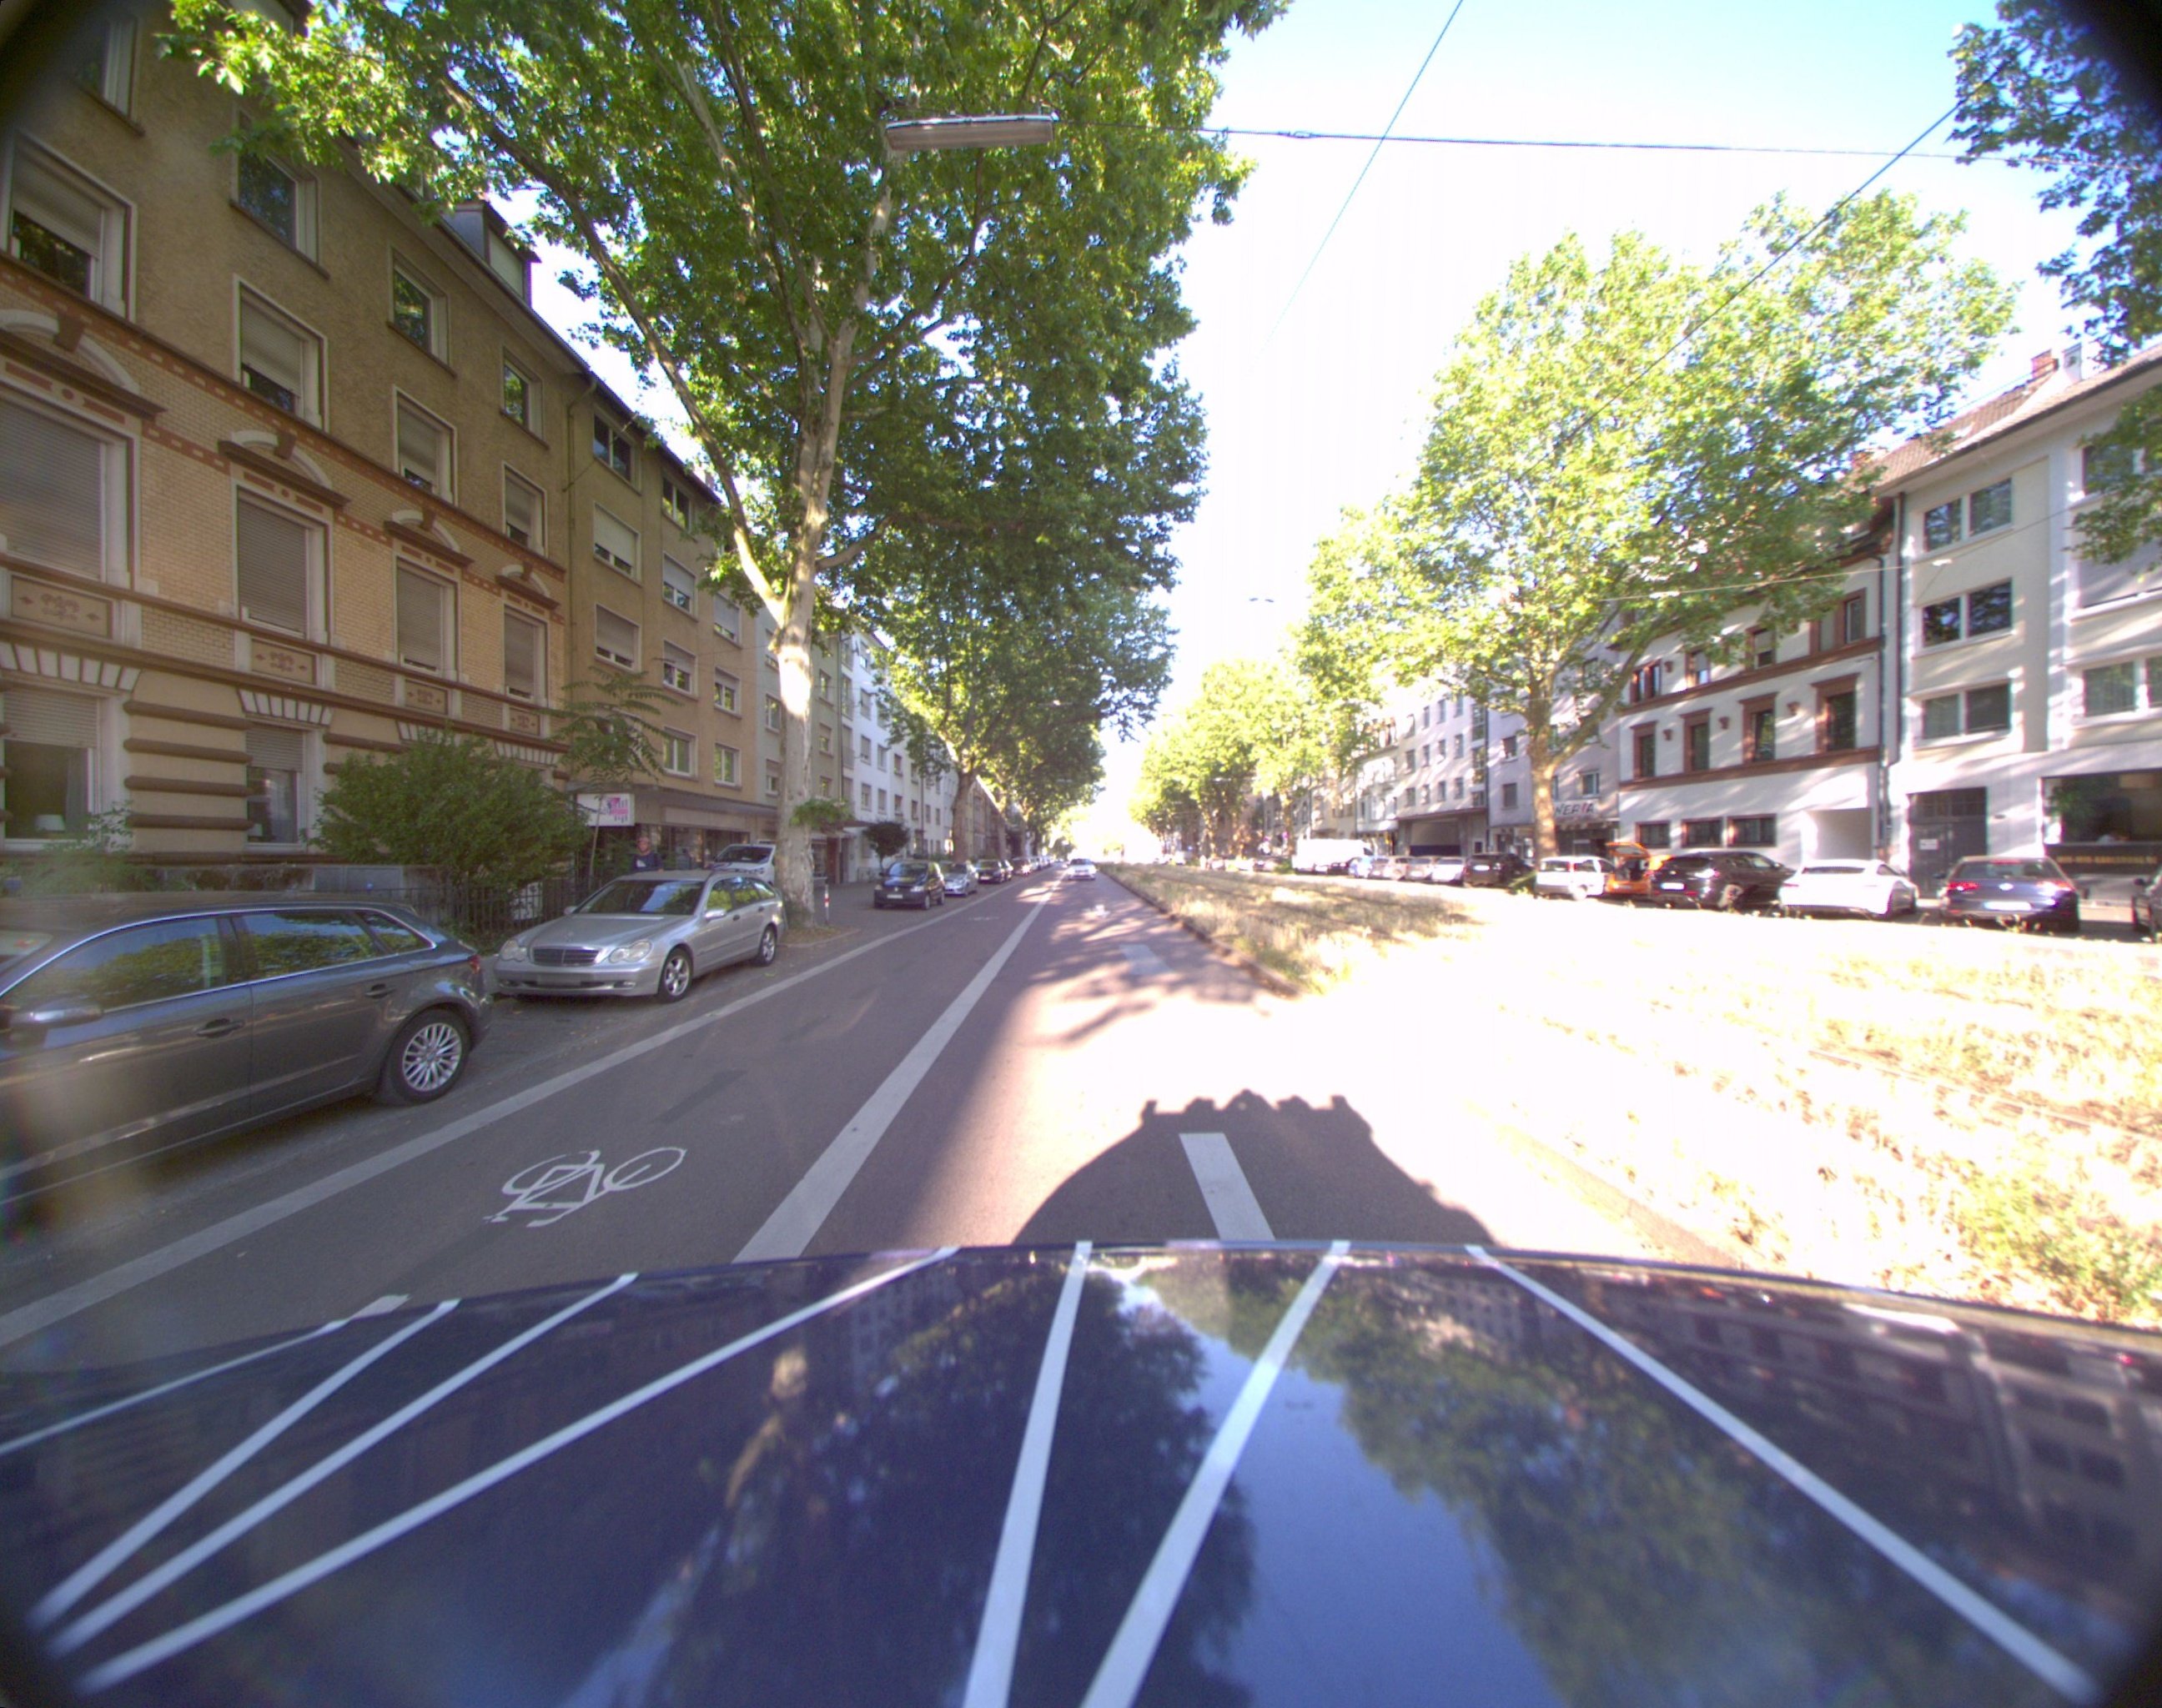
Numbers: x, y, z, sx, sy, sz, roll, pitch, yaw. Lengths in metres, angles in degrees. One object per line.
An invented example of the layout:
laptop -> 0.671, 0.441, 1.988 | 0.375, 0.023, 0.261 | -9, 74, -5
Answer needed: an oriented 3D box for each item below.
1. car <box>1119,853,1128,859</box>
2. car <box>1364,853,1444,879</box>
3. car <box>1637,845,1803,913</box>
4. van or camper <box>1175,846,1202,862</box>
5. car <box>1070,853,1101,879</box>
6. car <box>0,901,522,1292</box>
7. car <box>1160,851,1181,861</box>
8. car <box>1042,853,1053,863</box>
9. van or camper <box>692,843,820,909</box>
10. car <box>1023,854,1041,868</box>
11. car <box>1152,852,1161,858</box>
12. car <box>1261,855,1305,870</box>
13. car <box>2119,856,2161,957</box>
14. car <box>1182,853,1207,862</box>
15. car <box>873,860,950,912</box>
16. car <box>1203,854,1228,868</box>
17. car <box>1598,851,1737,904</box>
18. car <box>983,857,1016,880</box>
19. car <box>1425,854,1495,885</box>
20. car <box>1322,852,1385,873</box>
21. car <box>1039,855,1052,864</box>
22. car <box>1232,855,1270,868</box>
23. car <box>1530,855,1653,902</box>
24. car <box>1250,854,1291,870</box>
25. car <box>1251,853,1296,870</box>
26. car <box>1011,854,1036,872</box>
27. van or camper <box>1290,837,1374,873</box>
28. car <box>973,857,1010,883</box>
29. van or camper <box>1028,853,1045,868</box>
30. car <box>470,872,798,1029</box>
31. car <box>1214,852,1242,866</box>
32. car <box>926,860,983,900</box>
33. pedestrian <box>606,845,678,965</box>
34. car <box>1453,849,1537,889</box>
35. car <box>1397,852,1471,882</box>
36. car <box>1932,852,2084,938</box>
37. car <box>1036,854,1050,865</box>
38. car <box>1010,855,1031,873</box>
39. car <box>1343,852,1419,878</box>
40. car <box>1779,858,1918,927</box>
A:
car -> 11.572, 0.594, 205.501 | 1.997, 1.477, 4.002 | -2, 1, 8
car -> 19.170, 0.699, 45.087 | 4.002, 1.483, 1.948 | 0, 0, -13
car -> 18.297, 0.690, 21.757 | 4.370, 1.776, 1.989 | 1, 1, -26
van or camper -> 18.357, 0.033, 129.725 | 4.371, 2.386, 2.196 | -4, 2, -40
car -> 0.299, 0.718, 48.778 | 1.893, 1.501, 4.000 | -2, 1, 1
car -> -5.182, 1.067, 3.664 | 1.714, 1.388, 4.321 | 0, 0, 1
car -> 18.311, 0.389, 154.814 | 4.007, 2.002, 1.995 | -3, 1, -42
car -> -5.600, 0.617, 127.092 | 1.791, 1.585, 4.013 | 1, 0, -2
van or camper -> -10.438, 0.644, 24.959 | 1.947, 1.911, 5.390 | 0, 0, -1
car -> -5.549, 0.798, 86.409 | 1.702, 1.517, 4.194 | 0, 0, 0
car -> 20.182, 0.338, 202.882 | 1.998, 1.412, 4.000 | -2, 1, 2
car -> 18.696, 0.821, 70.266 | 4.014, 1.349, 1.797 | 1, 0, -37
car -> 19.055, 0.818, 12.691 | 4.007, 1.433, 1.717 | -3, 1, -41
car -> 18.971, 0.596, 127.202 | 4.006, 1.240, 1.726 | -4, 1, -34
car -> -5.428, 0.971, 24.724 | 1.658, 1.536, 3.999 | 0, 0, -1
car -> 15.037, 0.776, 85.152 | 1.825, 1.382, 4.483 | 2, 0, -1
car -> 19.497, 0.737, 25.268 | 4.003, 1.471, 1.774 | -3, 1, -20
car -> -5.405, 0.931, 50.570 | 1.713, 1.407, 4.363 | 2, 0, 0
car -> 18.934, 0.748, 37.899 | 4.008, 1.377, 1.907 | -2, 0, -45
car -> 19.703, 0.620, 54.949 | 4.004, 1.482, 1.996 | 0, 0, -22
car -> -5.615, 0.839, 119.803 | 1.790, 1.458, 3.569 | 1, 0, 0
car -> 18.206, 0.789, 81.437 | 3.687, 1.382, 1.822 | -1, 0, -31
car -> 18.038, 0.816, 26.819 | 4.369, 1.440, 1.655 | -2, 1, -26
car -> 19.216, 0.810, 76.934 | 4.008, 1.524, 1.821 | 1, -1, -36
car -> 18.642, 0.724, 73.553 | 4.169, 1.583, 1.932 | 2, -1, -36
car -> -5.486, 0.814, 73.266 | 1.999, 1.557, 4.663 | 2, 1, 0
van or camper -> 18.979, 0.054, 57.458 | 5.974, 2.631, 2.175 | -1, 0, -20
car -> -5.319, 0.922, 45.679 | 1.713, 1.407, 4.363 | 2, 0, 0
van or camper -> -5.415, 0.769, 92.707 | 1.790, 1.710, 4.379 | 1, 0, 1
car -> -5.343, 1.024, 9.931 | 1.678, 1.443, 4.570 | 0, 0, -2
car -> 18.828, 0.641, 97.412 | 1.726, 1.643, 4.009 | -1, -1, 40
car -> -5.312, 1.057, 32.480 | 1.699, 1.533, 4.776 | 0, 0, -1
pedestrian -> -7.653, 0.855, 13.279 | 0.684, 2.002, 1.011 | 0, 1, -3
car -> 18.685, 0.660, 34.239 | 4.008, 1.651, 1.995 | -1, 0, -41
car -> 19.061, 0.679, 40.957 | 4.006, 1.414, 1.752 | -3, 1, -34
car -> 19.361, 0.776, 16.031 | 4.007, 1.433, 1.797 | -3, 1, -43
car -> -5.489, 0.791, 109.730 | 1.790, 1.609, 3.829 | 1, 0, 0
car -> -5.284, 0.863, 66.490 | 1.748, 1.455, 4.024 | -1, 0, -5
car -> 18.956, 0.658, 48.106 | 3.998, 1.412, 1.857 | -3, 1, -4
car -> 18.650, 0.860, 18.408 | 4.212, 1.325, 1.718 | -3, 1, -36
